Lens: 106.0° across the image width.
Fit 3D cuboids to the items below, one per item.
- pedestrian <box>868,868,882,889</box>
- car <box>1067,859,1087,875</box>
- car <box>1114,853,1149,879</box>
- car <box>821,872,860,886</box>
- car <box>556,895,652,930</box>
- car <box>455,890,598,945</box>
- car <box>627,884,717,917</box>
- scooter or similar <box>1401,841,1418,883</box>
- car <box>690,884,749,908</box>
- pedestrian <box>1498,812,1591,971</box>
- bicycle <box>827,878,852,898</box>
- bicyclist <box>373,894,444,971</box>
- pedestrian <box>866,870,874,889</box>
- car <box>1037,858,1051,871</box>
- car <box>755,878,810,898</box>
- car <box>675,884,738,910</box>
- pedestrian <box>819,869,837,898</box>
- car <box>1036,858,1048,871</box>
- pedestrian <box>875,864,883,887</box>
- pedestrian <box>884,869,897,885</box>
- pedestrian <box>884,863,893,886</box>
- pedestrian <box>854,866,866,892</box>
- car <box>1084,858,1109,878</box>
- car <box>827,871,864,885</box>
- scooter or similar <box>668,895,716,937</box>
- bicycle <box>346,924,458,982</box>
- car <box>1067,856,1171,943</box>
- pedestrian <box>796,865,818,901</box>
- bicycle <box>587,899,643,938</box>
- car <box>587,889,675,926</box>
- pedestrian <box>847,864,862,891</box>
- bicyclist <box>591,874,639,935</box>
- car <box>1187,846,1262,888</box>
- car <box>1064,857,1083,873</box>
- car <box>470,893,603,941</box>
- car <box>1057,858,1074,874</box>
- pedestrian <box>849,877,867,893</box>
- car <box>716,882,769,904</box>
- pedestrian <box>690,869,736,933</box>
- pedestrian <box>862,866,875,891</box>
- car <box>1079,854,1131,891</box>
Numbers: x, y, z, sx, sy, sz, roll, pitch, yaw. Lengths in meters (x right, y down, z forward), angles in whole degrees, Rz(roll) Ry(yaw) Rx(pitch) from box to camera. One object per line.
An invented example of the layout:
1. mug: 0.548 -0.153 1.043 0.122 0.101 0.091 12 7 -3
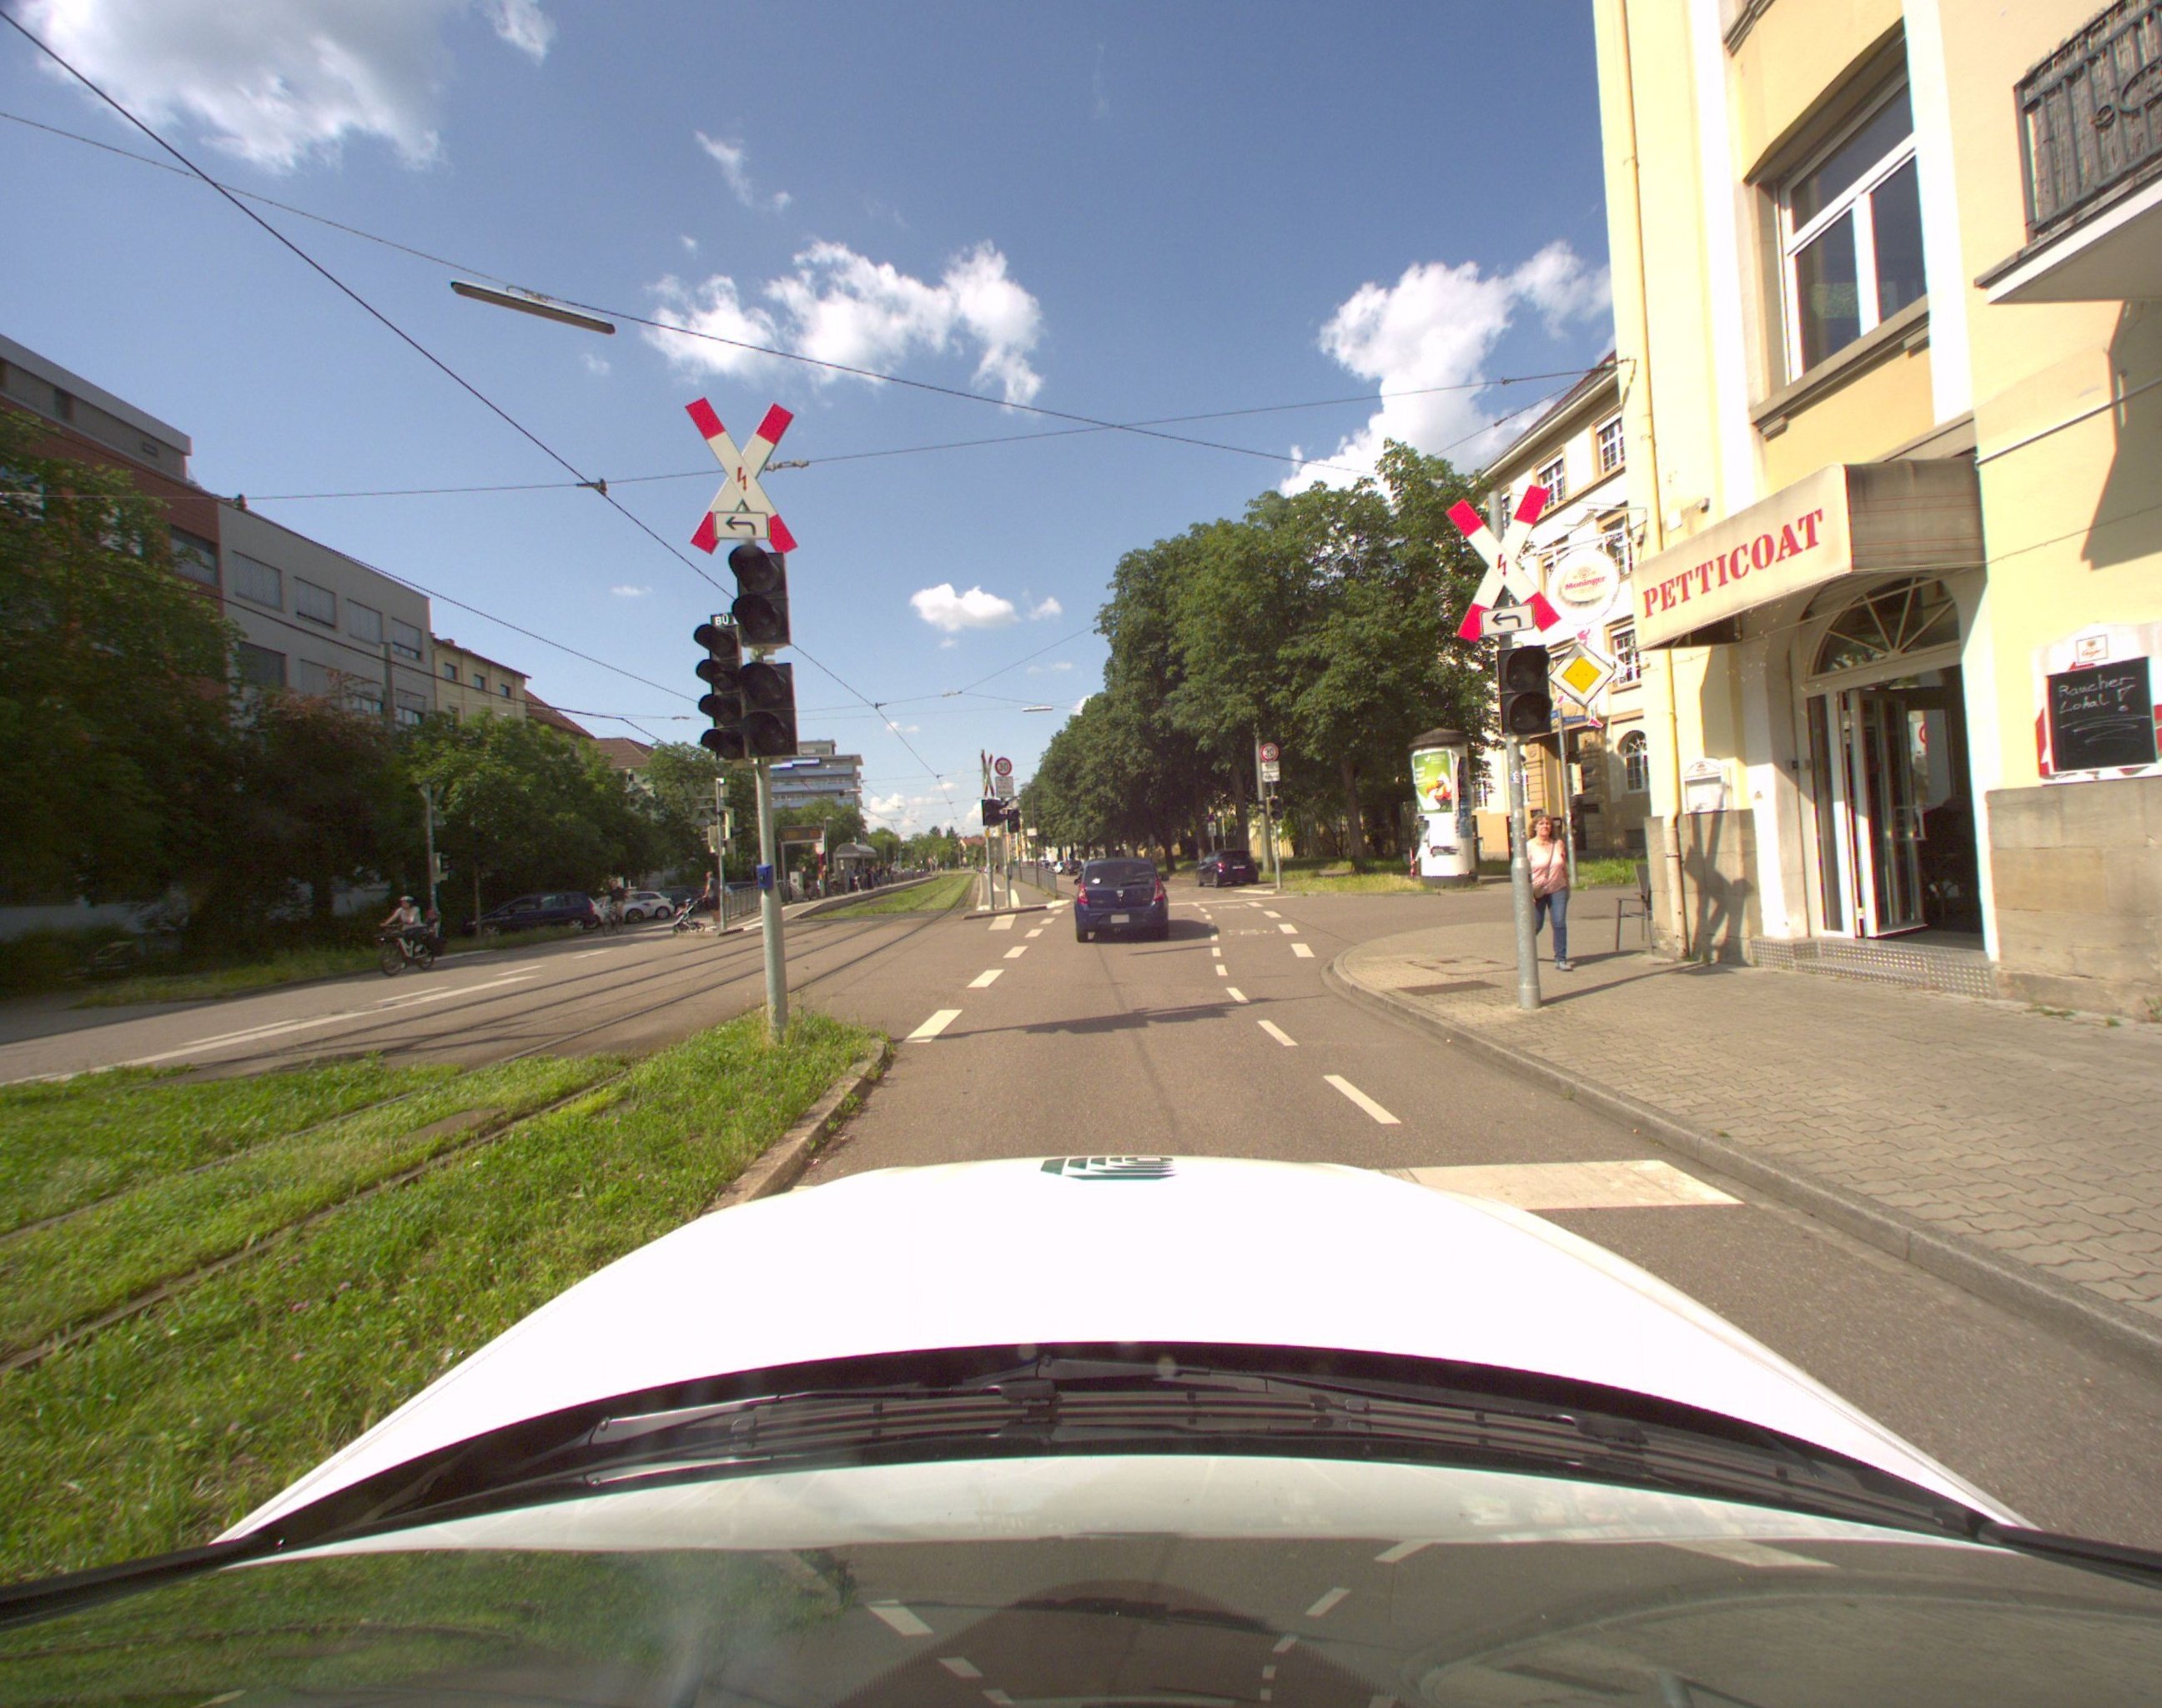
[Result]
1. pedestrian: -14.608 1.743 57.746 0.648 1.426 0.566 -5 -1 30
2. car: -0.419 1.278 82.179 1.856 1.445 3.998 -5 0 -1
3. car: 3.262 0.755 53.203 1.856 1.445 3.998 -5 0 -1
4. car: -28.069 2.920 95.096 1.618 1.385 4.026 -4 0 38
5. car: -21.460 2.616 36.713 1.525 1.236 3.410 -4 -1 44
6. car: -21.026 2.379 30.996 1.704 1.640 4.158 -4 -1 44
7. car: -22.611 2.553 45.130 1.669 1.456 4.025 -5 0 43
8. scooter or similar: 9.791 0.222 24.297 0.303 1.189 1.167 -4 0 16
9. car: -23.999 2.778 54.136 1.437 1.309 3.268 -4 0 38
10. pedestrian: 5.062 0.400 8.938 0.666 1.648 0.767 -5 -1 22
11. bicycle: -13.465 1.876 45.481 0.683 0.974 1.773 -6 0 3
12. bicyclist: -15.051 1.737 18.257 0.783 1.582 0.862 -4 0 -4
13. pedestrian: -16.572 1.995 63.843 0.489 1.452 0.461 -4 -1 -17
14. car: -5.214 1.482 114.876 1.825 1.761 3.998 -4 0 -1
15. car: -25.683 2.915 70.075 1.694 1.367 4.025 -5 0 42
16. car: -23.515 2.692 51.246 1.437 1.309 3.268 -4 0 35
17. pedestrian: -14.152 1.640 45.548 0.661 1.569 0.686 -5 -1 1
18. car: -5.817 1.562 121.252 1.663 1.772 3.996 -4 0 -3
19. pedestrian: -15.797 1.682 63.687 0.489 1.712 0.461 -4 -1 -17
20. pedestrian: -17.996 2.155 77.021 1.033 1.437 0.698 -5 0 -22
21. pedestrian: -17.199 1.834 72.802 0.661 2.013 0.800 -4 -1 -14
22. pedestrian: -15.218 1.713 56.124 0.592 1.736 0.556 -4 -1 -2
23. car: 1.295 1.186 69.612 1.846 1.515 3.998 -4 0 -1
24. car: -28.999 2.979 100.267 4.022 1.447 1.707 -3 0 -41
25. scooter or similar: -11.357 1.794 23.799 0.953 1.064 0.795 -6 0 -7
26. bicycle: -15.016 2.164 18.099 0.679 0.971 2.176 -5 0 -3
27. car: 0.739 0.804 16.133 1.761 1.462 3.777 -2 0 2
28. pedestrian: -13.644 1.433 40.525 0.705 1.726 0.672 -4 -1 35
29. bicycle: -16.347 2.240 28.616 1.155 1.177 1.779 -5 -1 -13
30. car: -21.948 2.589 39.802 3.409 1.505 1.525 -3 -1 -45
31. pedestrian: -14.479 1.514 52.044 0.654 1.692 0.655 -4 -1 -6
32. bicyclist: -16.371 1.738 28.638 0.949 2.013 1.568 -4 0 -14
33. car: 5.679 0.519 32.699 1.764 1.433 3.894 -5 0 -7
34. car: -0.842 1.202 87.769 1.823 1.537 3.998 -5 0 -1
35. car: -22.075 2.531 33.136 1.704 1.499 4.158 -4 -1 44
36. car: -1.822 1.404 95.938 1.615 1.750 3.991 -4 0 -6
37. pedestrian: -14.646 2.024 53.596 0.923 0.989 0.796 -5 -2 -5
38. car: -24.941 2.882 60.106 1.437 1.309 3.268 -4 0 38
39. pedestrian: -10.950 1.387 24.271 0.871 1.775 1.000 -6 0 -10
40. pedestrian: -14.928 1.711 57.106 0.602 1.766 0.639 -4 -1 2
41. car: 0.937 0.741 33.676 1.698 1.368 3.507 -2 0 -6
